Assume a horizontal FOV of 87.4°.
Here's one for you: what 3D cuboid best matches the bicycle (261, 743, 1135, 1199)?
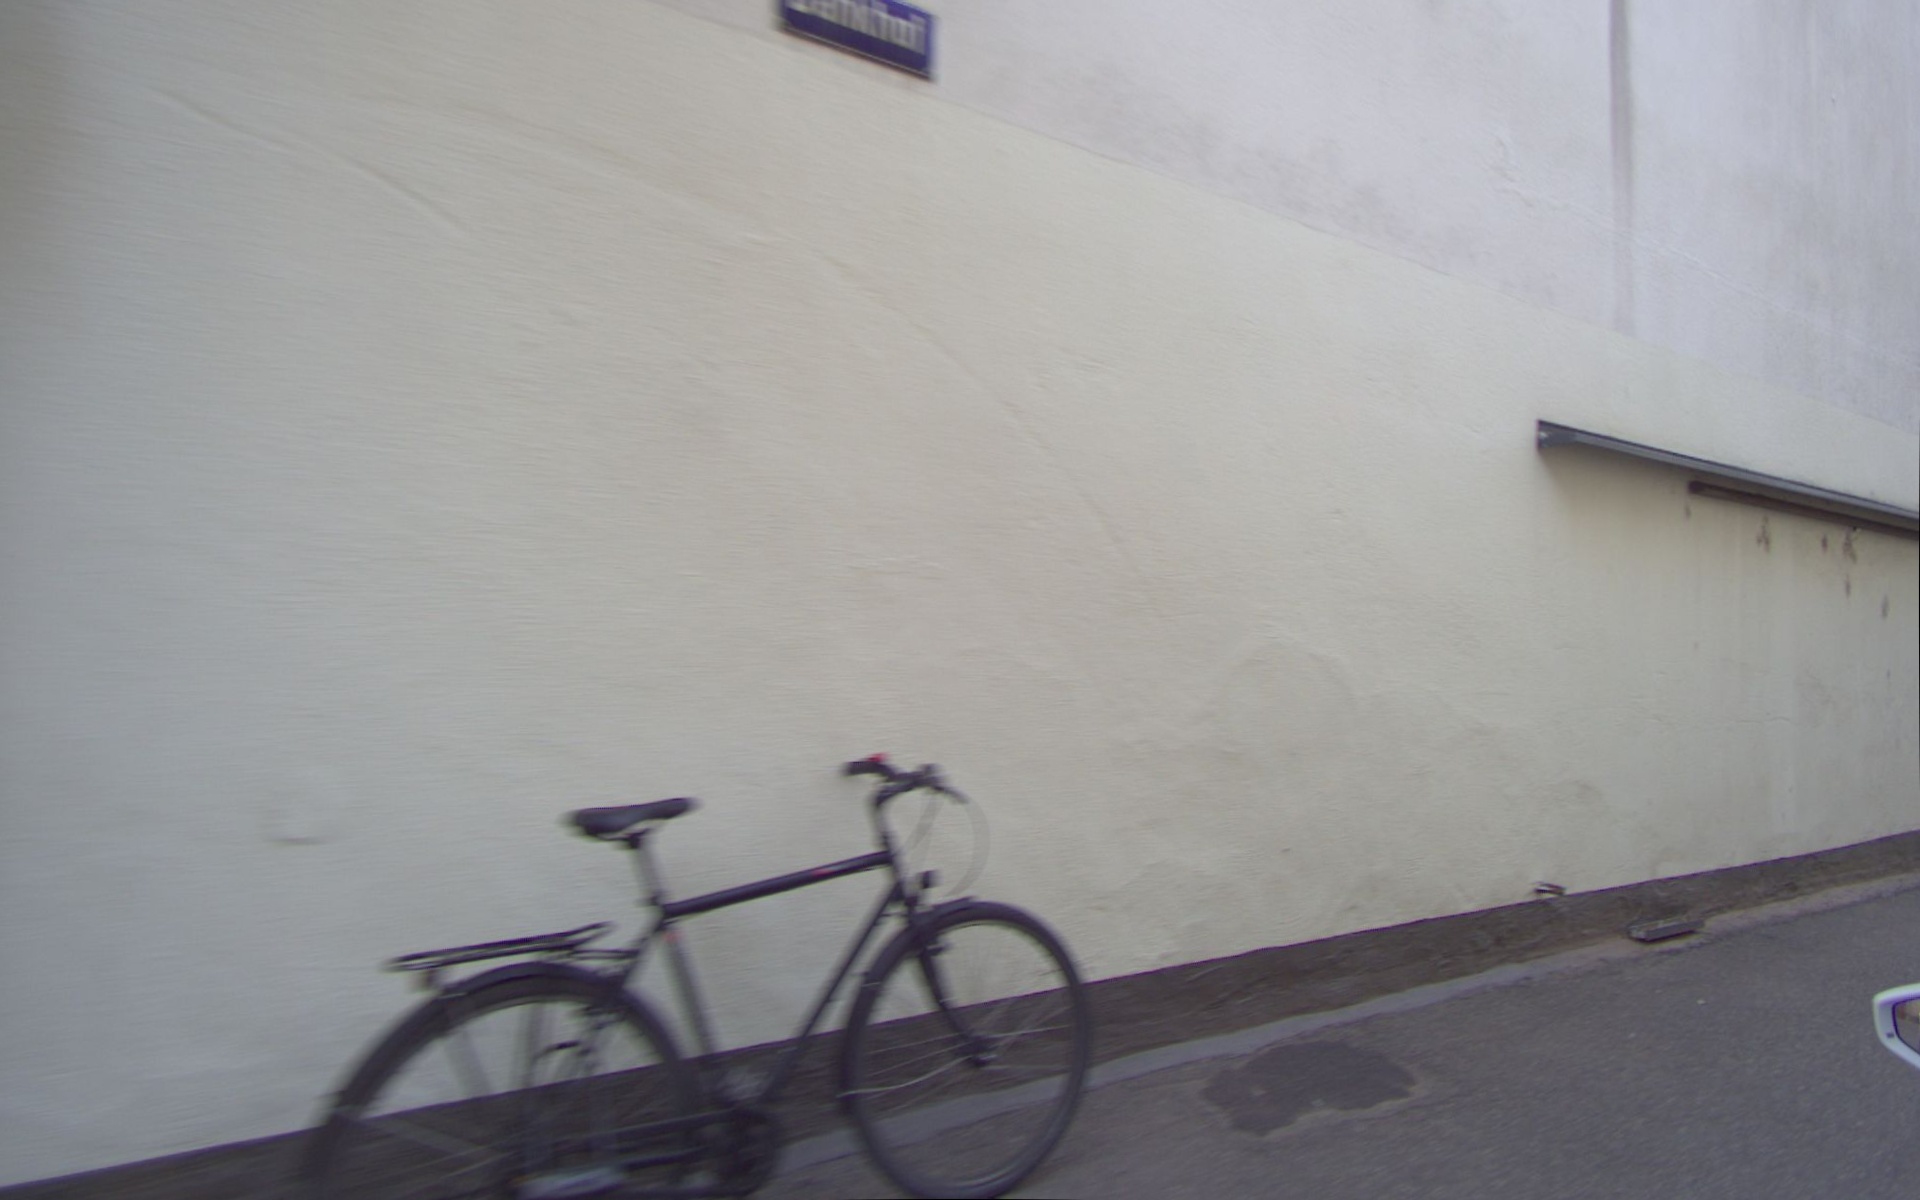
[{"bbox_3d":[-0.485,0.926,2.266,1.735,1.093,0.592,3,-2,-30],"label":"bicycle"}]
